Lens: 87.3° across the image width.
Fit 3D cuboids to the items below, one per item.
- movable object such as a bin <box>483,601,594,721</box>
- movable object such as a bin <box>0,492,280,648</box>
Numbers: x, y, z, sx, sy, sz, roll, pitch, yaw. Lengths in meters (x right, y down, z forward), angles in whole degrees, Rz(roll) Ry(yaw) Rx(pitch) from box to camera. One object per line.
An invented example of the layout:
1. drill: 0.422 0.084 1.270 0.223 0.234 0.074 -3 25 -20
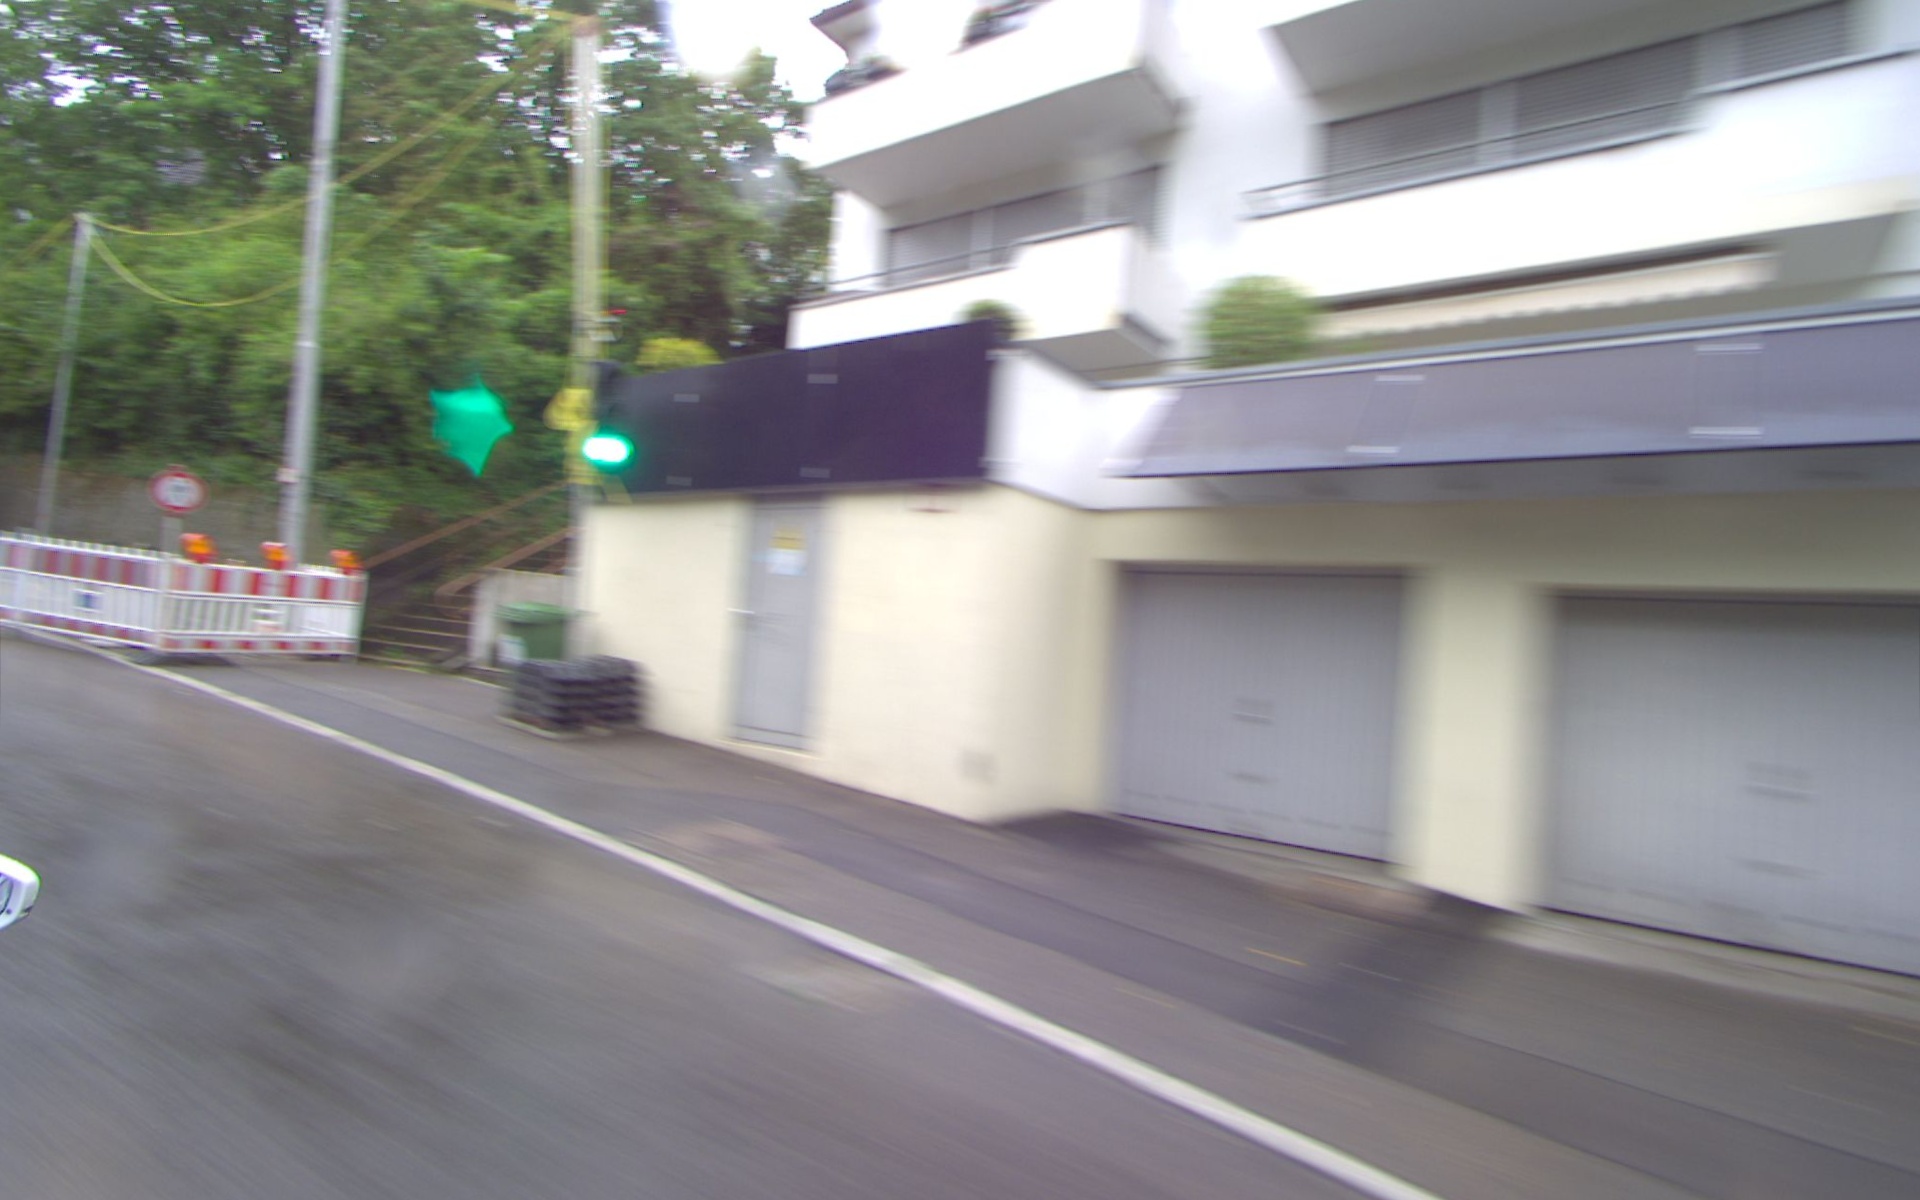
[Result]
1. movable object such as a bin: -3.991 0.578 9.540 0.584 1.045 0.717 7 1 43
2. movable object such as a bin: -11.160 -0.441 13.120 3.929 1.538 1.999 8 0 26
